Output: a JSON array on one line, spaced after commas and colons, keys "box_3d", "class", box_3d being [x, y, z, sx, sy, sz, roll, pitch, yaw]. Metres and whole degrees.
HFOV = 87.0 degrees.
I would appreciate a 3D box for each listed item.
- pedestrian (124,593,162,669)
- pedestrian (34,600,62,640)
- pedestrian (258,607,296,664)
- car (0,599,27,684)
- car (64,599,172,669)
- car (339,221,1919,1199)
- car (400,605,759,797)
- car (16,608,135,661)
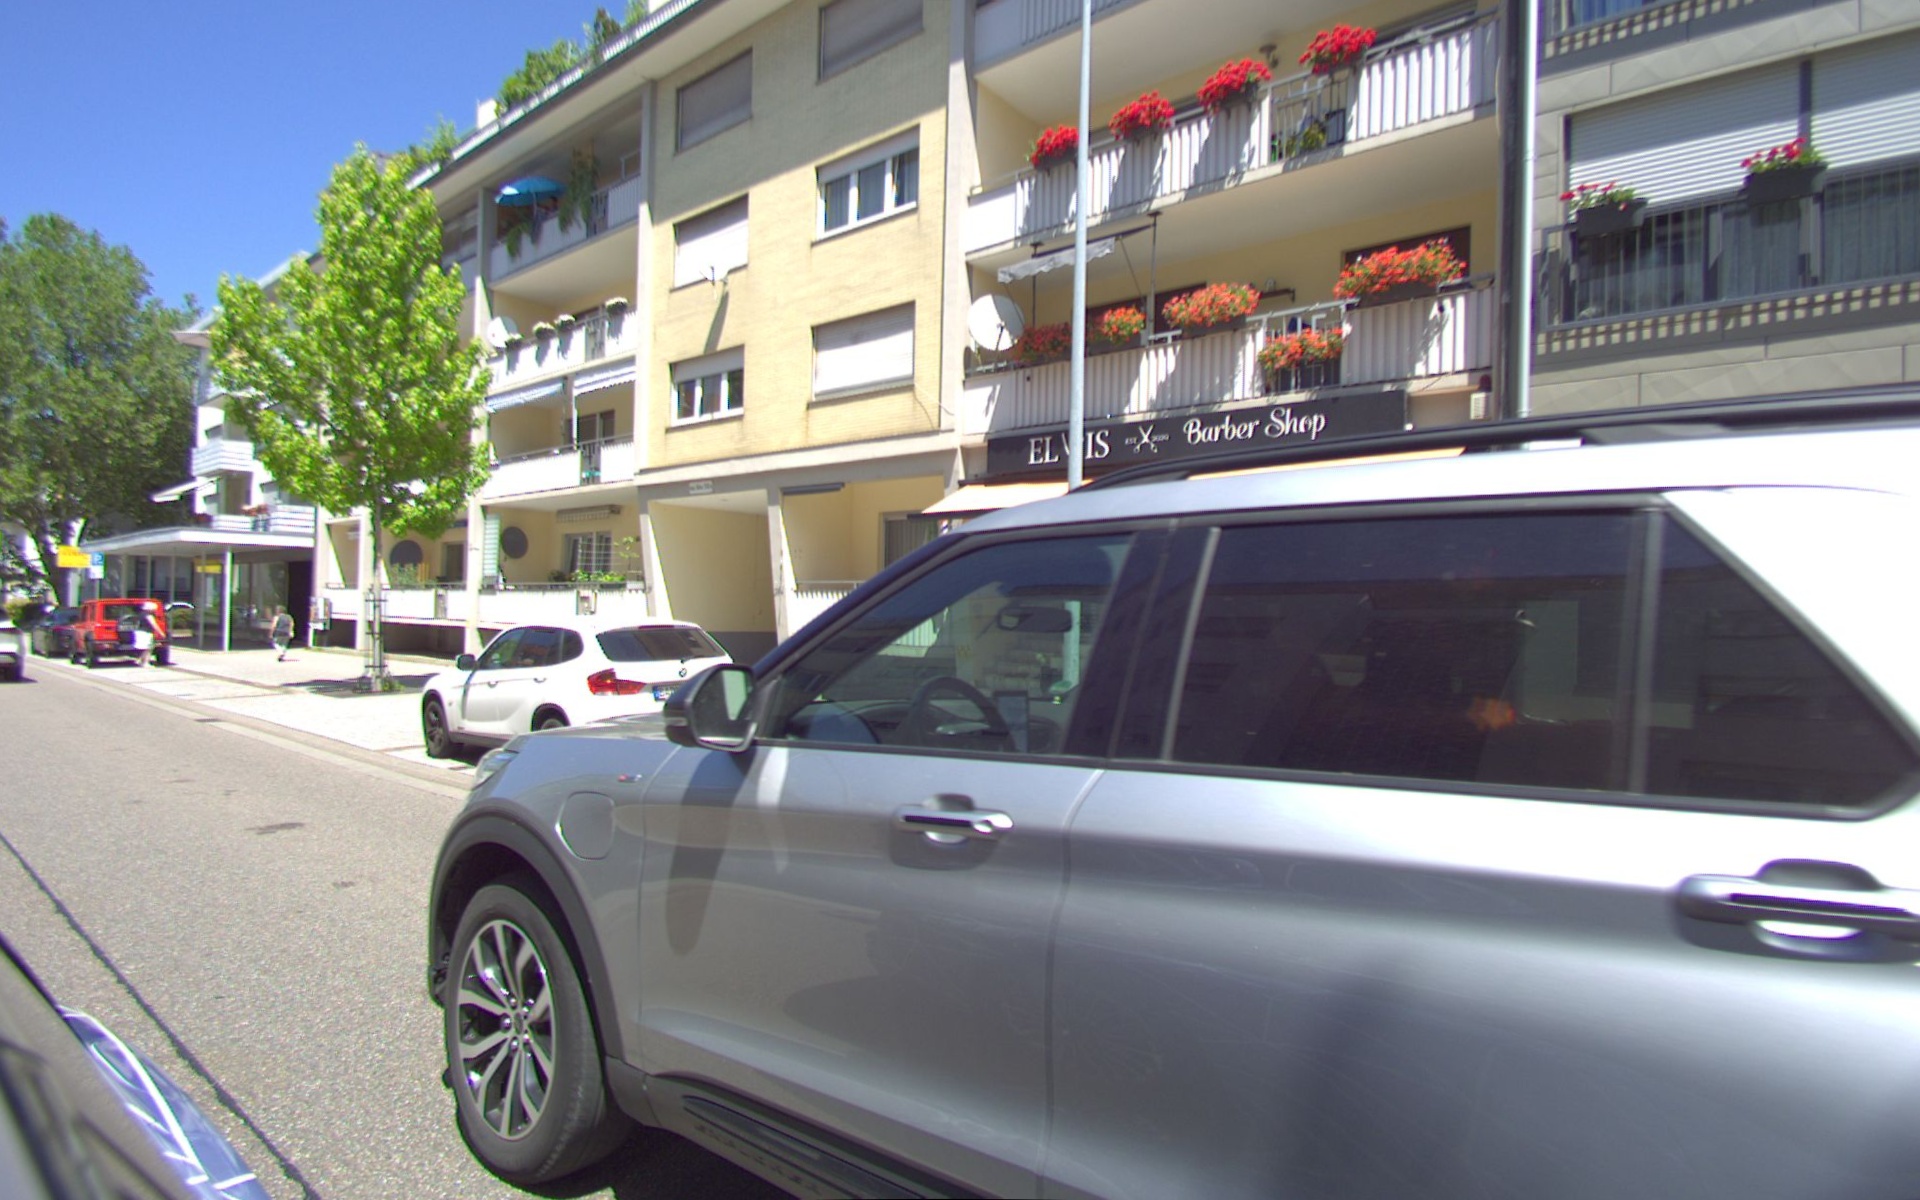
[{"box_3d": [-19.884, 0.762, 24.631, 0.658, 1.818, 0.687, 2, -2, -40], "class": "pedestrian"}, {"box_3d": [-41.225, 0.904, 45.739, 0.737, 1.806, 0.635, 0, -2, 18], "class": "pedestrian"}, {"box_3d": [-18.475, 0.946, 27.367, 0.767, 1.510, 0.698, 2, -2, -38], "class": "pedestrian"}, {"box_3d": [-20.734, 0.796, 20.678, 4.294, 1.645, 1.754, 0, -3, 38], "class": "car"}, {"box_3d": [-21.592, 0.815, 25.927, 3.369, 1.674, 1.623, 0, 0, 41], "class": "car"}, {"box_3d": [0.691, 0.586, 2.154, 4.750, 1.767, 1.882, 0, -2, 38], "class": "car"}, {"box_3d": [-4.089, 0.863, 10.499, 4.298, 1.604, 1.677, 0, -1, 41], "class": "car"}, {"box_3d": [-26.366, 0.981, 30.137, 3.995, 1.475, 1.974, 0, -1, 39], "class": "car"}]
